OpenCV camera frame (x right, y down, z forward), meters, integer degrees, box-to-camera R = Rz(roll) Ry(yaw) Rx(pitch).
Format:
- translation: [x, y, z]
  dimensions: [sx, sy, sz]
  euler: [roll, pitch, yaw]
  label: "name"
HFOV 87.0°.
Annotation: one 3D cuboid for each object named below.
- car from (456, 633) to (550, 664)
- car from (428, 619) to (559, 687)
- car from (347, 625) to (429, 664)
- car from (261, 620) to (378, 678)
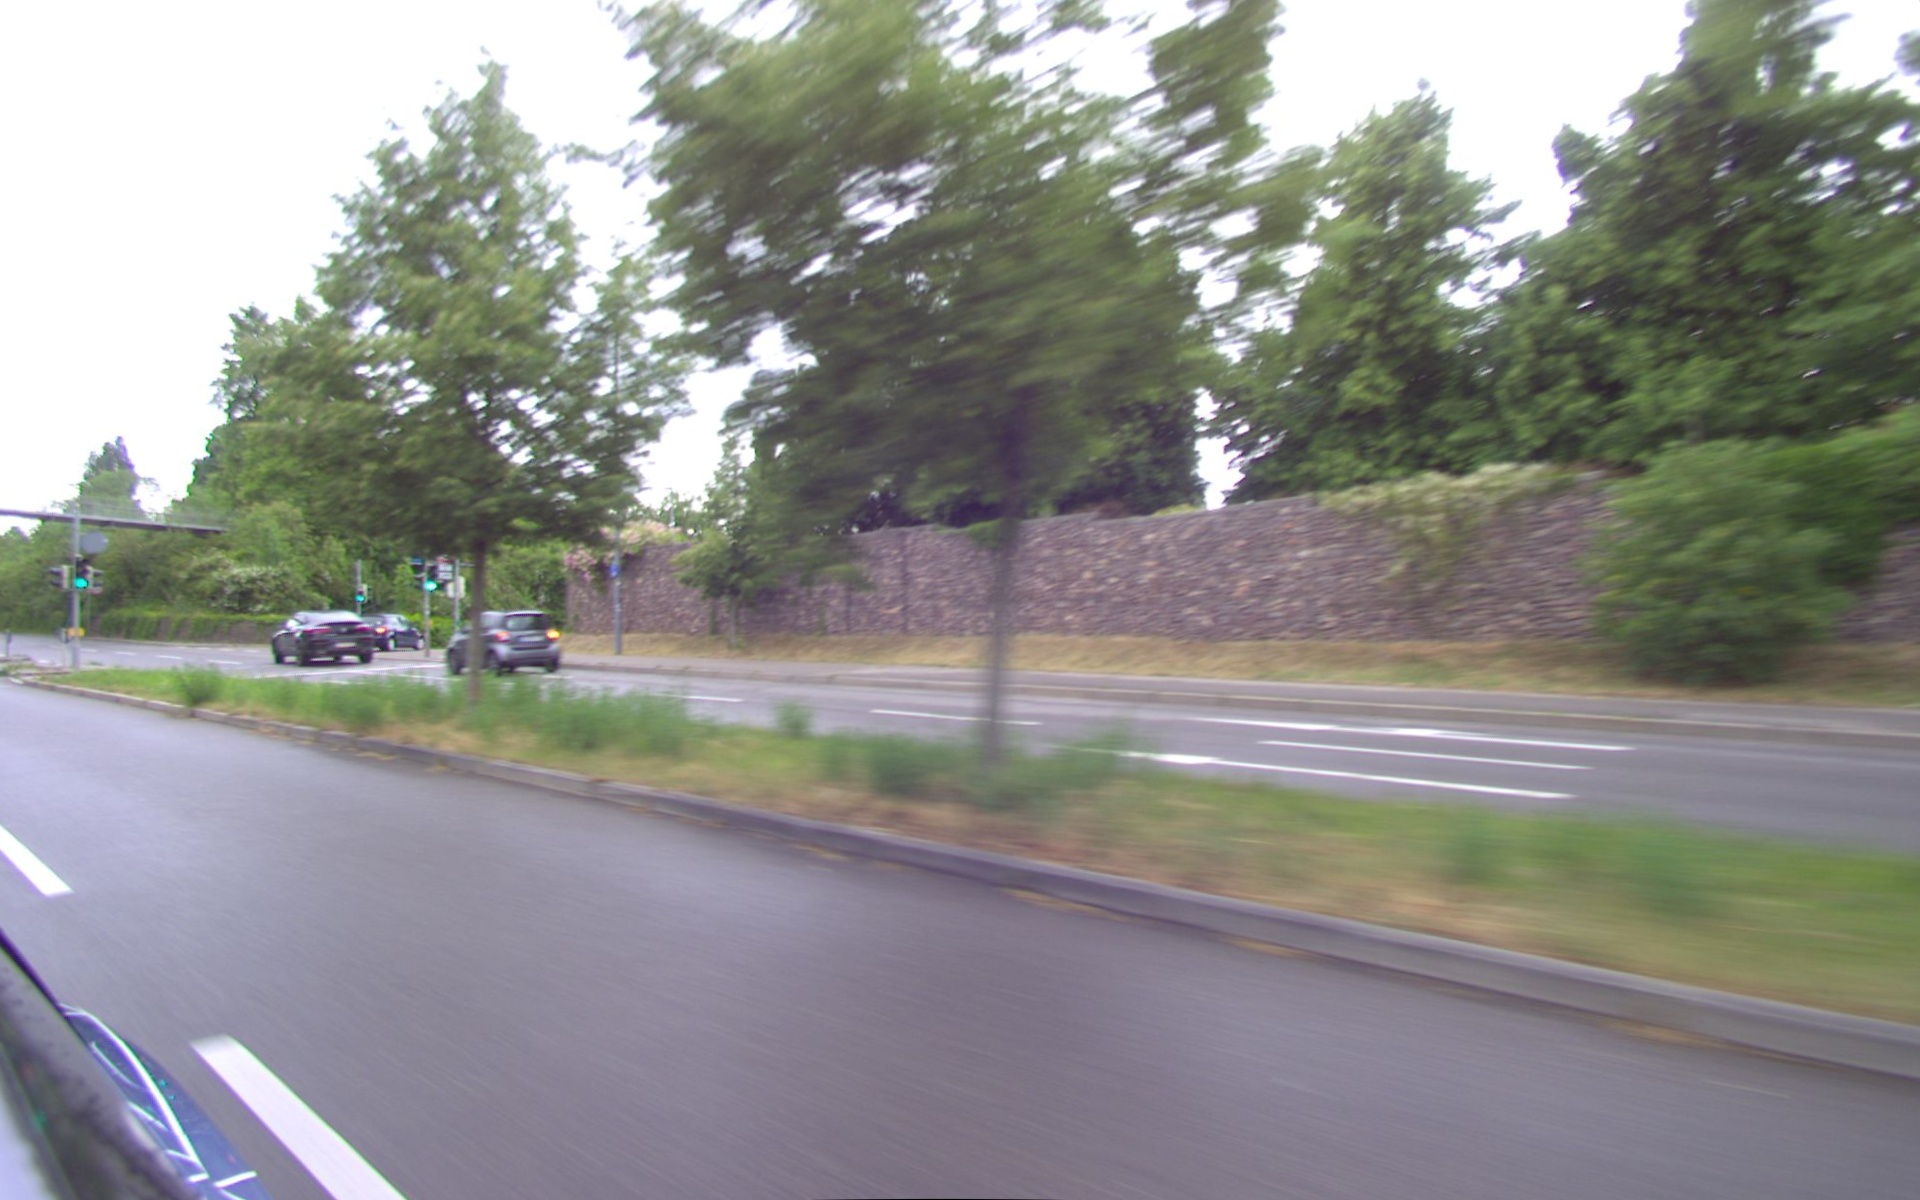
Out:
- translation: [-22.944, 2.473, 50.876]
  dimensions: [1.692, 1.484, 3.942]
  euler: [-4, -5, 43]
  label: "car"
- translation: [-11.374, 1.283, 24.651]
  dimensions: [2.908, 1.551, 1.672]
  euler: [-2, -2, 34]
  label: "car"
- translation: [-23.208, 1.786, 41.214]
  dimensions: [1.578, 1.501, 4.007]
  euler: [0, -1, -8]
  label: "car"
- translation: [-19.597, 1.446, 30.870]
  dimensions: [4.766, 1.607, 1.861]
  euler: [-1, -1, 43]
  label: "car"
